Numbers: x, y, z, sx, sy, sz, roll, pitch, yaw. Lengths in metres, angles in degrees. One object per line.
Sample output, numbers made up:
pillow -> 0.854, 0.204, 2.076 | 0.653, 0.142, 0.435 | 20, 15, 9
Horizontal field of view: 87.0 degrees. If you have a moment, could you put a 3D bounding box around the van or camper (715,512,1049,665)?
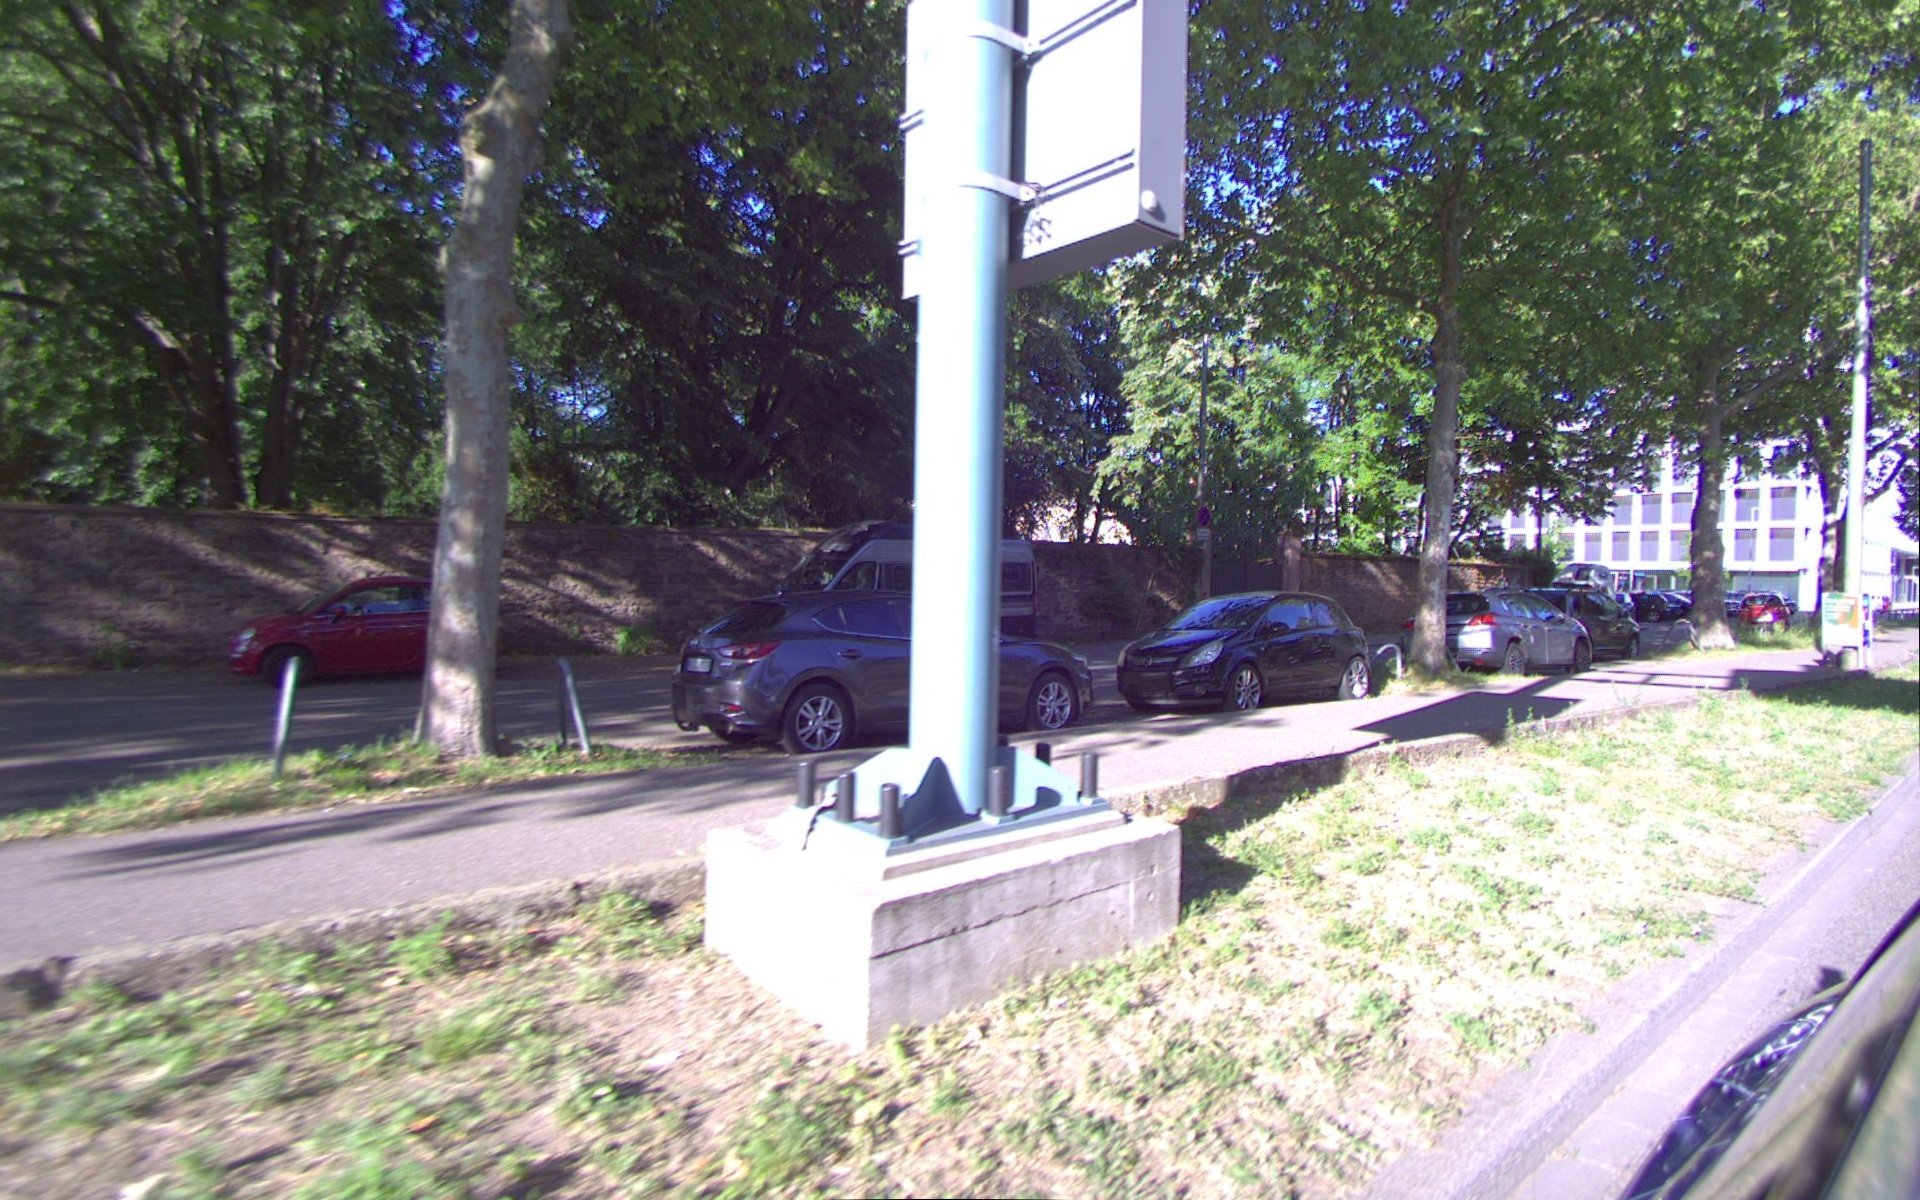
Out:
van or camper -> -1.484, -0.286, 20.913 | 6.441, 2.716, 2.566 | 0, 3, -36

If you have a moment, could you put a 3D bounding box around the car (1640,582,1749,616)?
car -> 40.171, -0.098, 55.419 | 1.963, 1.427, 4.396 | 0, 6, -37

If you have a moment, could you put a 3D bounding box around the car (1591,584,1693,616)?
car -> 34.300, -0.027, 50.942 | 1.736, 1.523, 3.992 | -1, 2, -43

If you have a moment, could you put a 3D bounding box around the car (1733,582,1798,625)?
car -> 32.912, 0.130, 41.432 | 1.989, 1.660, 3.946 | -1, 1, 38

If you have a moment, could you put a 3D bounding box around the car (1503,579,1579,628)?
car -> 22.331, 0.082, 38.825 | 1.837, 1.637, 3.944 | 6, 4, 38

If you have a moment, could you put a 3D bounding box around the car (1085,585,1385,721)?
car -> 3.576, 0.558, 12.896 | 3.814, 1.456, 1.797 | -1, 0, -39

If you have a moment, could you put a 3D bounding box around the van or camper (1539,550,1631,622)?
van or camper -> 26.276, -0.633, 42.481 | 4.882, 2.764, 1.996 | -1, 5, -44

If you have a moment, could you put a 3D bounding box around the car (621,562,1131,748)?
car -> -0.669, 0.402, 9.831 | 4.591, 1.399, 1.998 | -1, -1, -37

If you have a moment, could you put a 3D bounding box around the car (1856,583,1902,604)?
car -> 75.348, -0.555, 82.952 | 4.322, 1.503, 2.000 | -1, 5, -38

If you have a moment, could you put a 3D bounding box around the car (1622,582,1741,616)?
car -> 38.090, -0.099, 53.552 | 1.964, 1.422, 4.733 | 0, 5, -40

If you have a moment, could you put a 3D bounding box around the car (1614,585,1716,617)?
car -> 36.310, 0.004, 52.180 | 1.590, 1.409, 4.000 | -1, 4, -37

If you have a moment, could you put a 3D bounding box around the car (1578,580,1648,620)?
car -> 29.807, -0.021, 46.163 | 1.993, 1.592, 3.940 | 5, 5, 42

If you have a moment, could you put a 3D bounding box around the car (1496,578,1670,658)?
car -> 14.336, 0.353, 23.215 | 4.540, 1.655, 1.798 | -1, 0, -36

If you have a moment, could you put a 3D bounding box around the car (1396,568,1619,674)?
car -> 9.239, 0.306, 16.969 | 3.947, 1.580, 1.797 | -1, -1, -38

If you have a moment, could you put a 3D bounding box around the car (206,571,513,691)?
car -> -8.693, 0.362, 14.813 | 3.686, 1.490, 1.697 | -1, 4, -35

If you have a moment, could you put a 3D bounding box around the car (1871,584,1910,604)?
car -> 79.206, -0.527, 86.124 | 4.198, 1.503, 1.869 | -1, 5, -40
